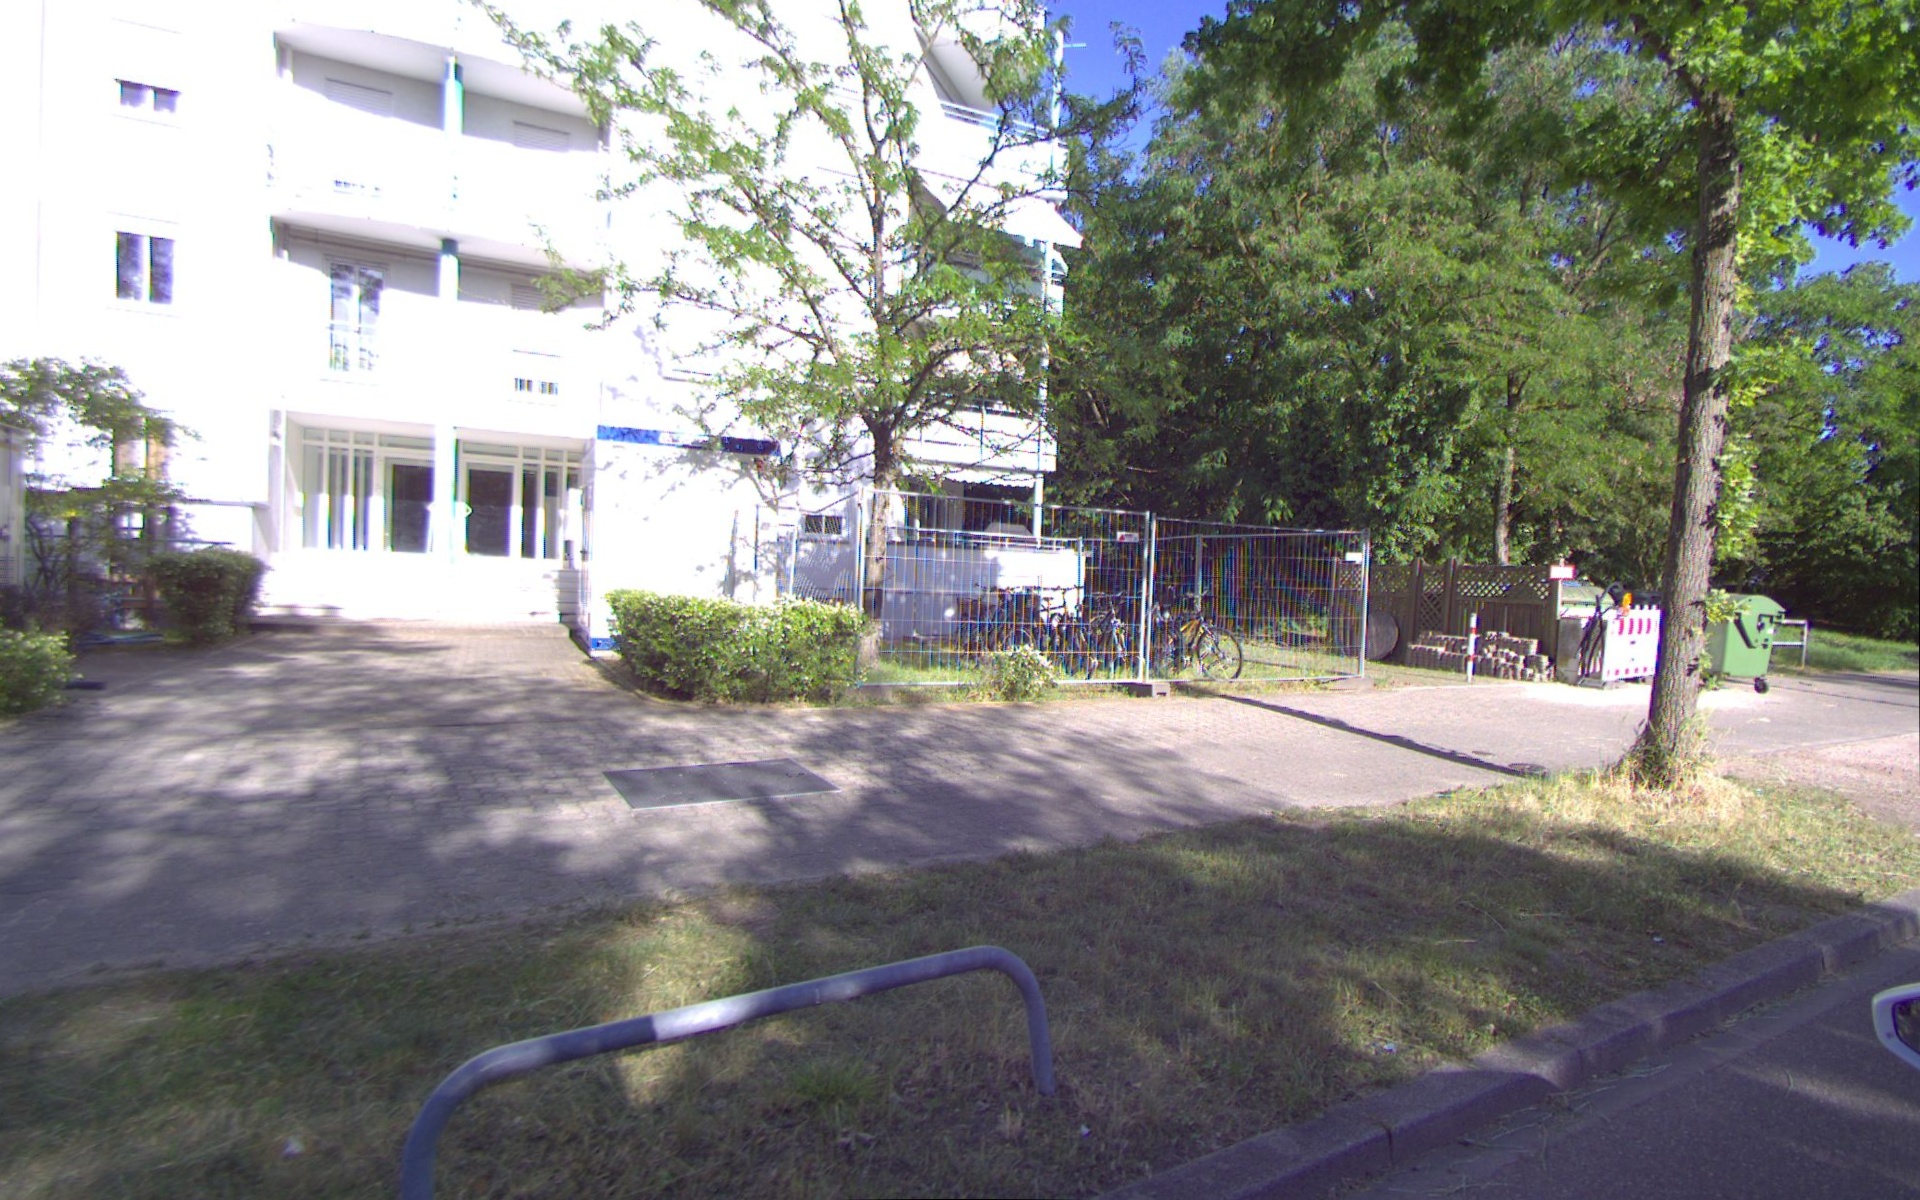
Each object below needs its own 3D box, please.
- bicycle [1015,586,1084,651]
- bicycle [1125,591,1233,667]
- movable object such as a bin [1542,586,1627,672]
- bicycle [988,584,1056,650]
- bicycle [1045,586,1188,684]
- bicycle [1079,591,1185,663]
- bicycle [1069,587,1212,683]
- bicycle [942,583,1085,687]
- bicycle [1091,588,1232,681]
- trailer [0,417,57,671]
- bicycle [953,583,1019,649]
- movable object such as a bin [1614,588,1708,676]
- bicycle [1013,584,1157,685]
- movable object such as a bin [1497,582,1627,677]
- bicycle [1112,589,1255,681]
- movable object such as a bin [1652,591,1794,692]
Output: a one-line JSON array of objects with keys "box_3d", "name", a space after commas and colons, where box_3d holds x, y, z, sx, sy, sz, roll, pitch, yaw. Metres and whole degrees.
[{"box_3d": [1.544, 0.302, 17.665, 0.395, 1.040, 1.690, 2, 1, -24], "name": "bicycle"}, {"box_3d": [3.182, 0.434, 14.530, 1.681, 1.040, 0.397, 2, 2, -32], "name": "bicycle"}, {"box_3d": [11.298, 0.504, 18.240, 1.123, 1.455, 1.272, 3, 2, 26], "name": "movable object such as a bin"}, {"box_3d": [1.047, 0.273, 17.433, 0.395, 1.040, 1.690, 2, 1, -24], "name": "bicycle"}, {"box_3d": [1.851, 0.393, 12.132, 0.397, 1.040, 1.821, 2, 2, -42], "name": "bicycle"}, {"box_3d": [2.652, 0.421, 15.398, 1.680, 1.040, 0.397, 2, 1, -29], "name": "bicycle"}, {"box_3d": [2.197, 0.403, 12.467, 0.397, 1.040, 1.841, 2, 2, -42], "name": "bicycle"}, {"box_3d": [0.573, 0.367, 11.552, 0.397, 1.040, 1.851, 2, 2, -42], "name": "bicycle"}, {"box_3d": [2.518, 0.409, 12.747, 0.397, 1.040, 1.820, 2, 2, -42], "name": "bicycle"}, {"box_3d": [-10.209, -0.549, 7.872, 4.290, 2.149, 1.857, 1, 4, -27], "name": "trailer"}, {"box_3d": [0.421, 0.253, 17.183, 0.395, 1.040, 1.690, 2, 1, -24], "name": "bicycle"}, {"box_3d": [12.408, 0.537, 17.828, 1.123, 1.455, 1.272, 3, 2, 26], "name": "movable object such as a bin"}, {"box_3d": [1.437, 0.377, 11.914, 0.397, 1.040, 1.838, 2, 2, -42], "name": "bicycle"}, {"box_3d": [9.906, 0.456, 16.589, 1.300, 1.455, 1.273, 2, 1, -2], "name": "movable object such as a bin"}, {"box_3d": [2.864, 0.421, 13.067, 0.397, 1.040, 1.896, 2, 2, -42], "name": "bicycle"}, {"box_3d": [11.827, 0.624, 15.611, 1.161, 1.455, 1.269, 2, 1, -14], "name": "movable object such as a bin"}]
